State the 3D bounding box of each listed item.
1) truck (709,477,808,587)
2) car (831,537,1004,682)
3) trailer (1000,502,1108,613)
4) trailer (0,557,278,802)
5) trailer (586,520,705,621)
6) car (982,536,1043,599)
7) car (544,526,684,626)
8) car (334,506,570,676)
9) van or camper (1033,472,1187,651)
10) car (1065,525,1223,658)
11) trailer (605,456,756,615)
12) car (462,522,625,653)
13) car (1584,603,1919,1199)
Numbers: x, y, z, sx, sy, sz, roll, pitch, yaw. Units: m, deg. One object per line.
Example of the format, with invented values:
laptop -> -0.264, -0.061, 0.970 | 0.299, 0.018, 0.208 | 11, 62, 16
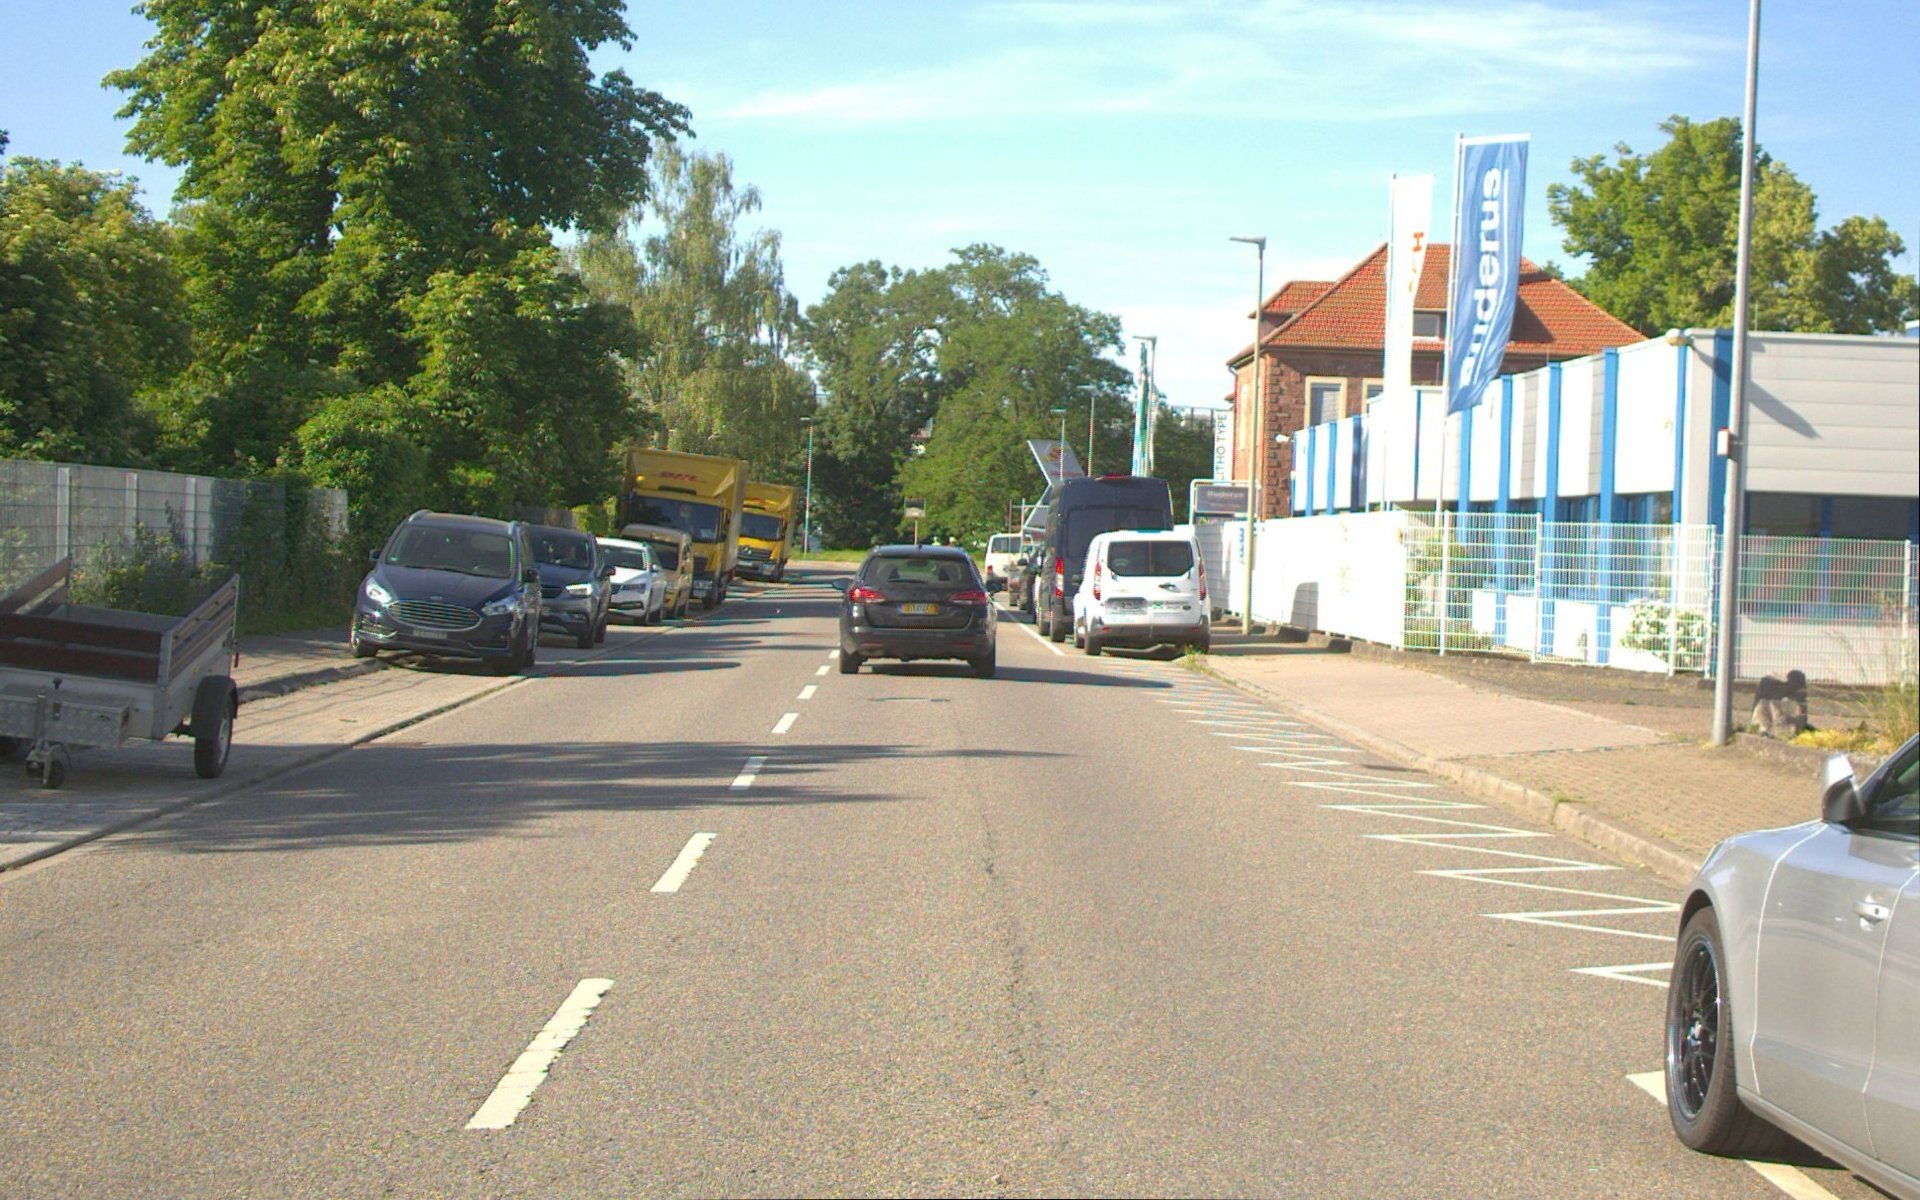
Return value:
truck -> -7.219, -2.526, 124.398 | 2.632, 3.493, 8.657 | 8, 2, 0
car -> -0.455, 0.068, 39.623 | 1.847, 1.525, 4.000 | 2, 1, 0
trailer -> 2.370, -1.079, 88.071 | 2.460, 2.663, 5.702 | 2, 1, -1
trailer -> -5.399, 0.448, 21.790 | 1.476, 1.349, 3.079 | 4, 1, 0
trailer -> -6.366, -0.613, 69.958 | 1.993, 1.935, 4.415 | 2, 1, 0
car -> 1.785, -1.111, 118.355 | 1.874, 2.007, 5.160 | 4, 0, 0
car -> -6.394, -0.458, 64.032 | 1.908, 1.587, 5.025 | 6, 1, 0
car -> -5.779, -0.144, 39.678 | 1.792, 1.725, 4.802 | 4, 1, 1
van or camper -> 2.469, -0.639, 58.278 | 2.141, 2.750, 6.161 | 4, 0, 0
car -> 2.719, -0.146, 51.842 | 1.885, 1.791, 5.104 | 4, 0, -1
trailer -> -6.491, -1.496, 80.857 | 2.991, 3.431, 8.162 | 2, 1, -2
car -> -6.082, -0.222, 50.660 | 1.908, 1.657, 4.464 | 6, 1, -3
car -> 2.850, 0.790, 7.496 | 1.894, 1.400, 5.124 | 4, 0, -1
